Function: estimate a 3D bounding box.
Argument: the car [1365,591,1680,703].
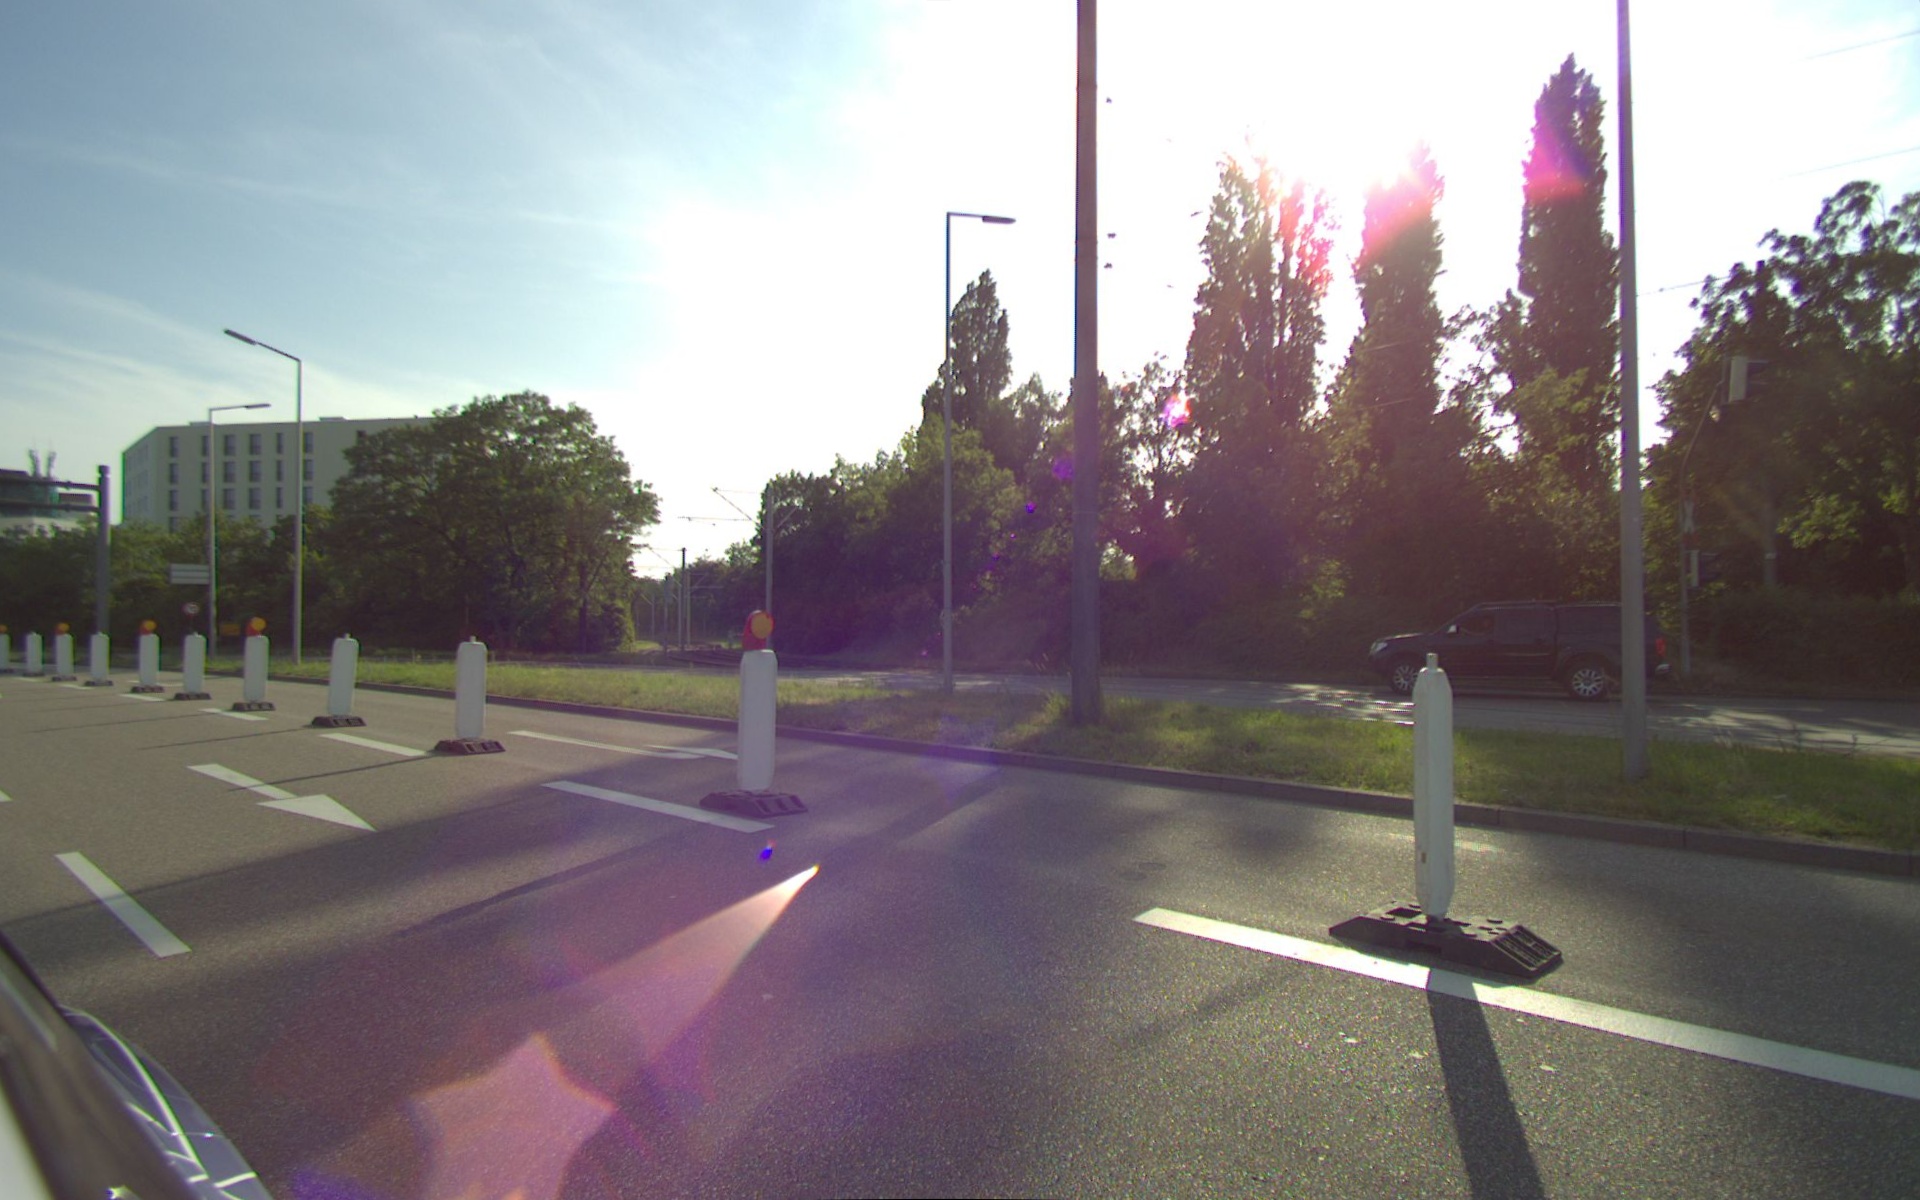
[{"bbox_3d":[11.231,0.930,20.613,5.334,2.029,1.980,-1,-2,29],"label":"car"}]
